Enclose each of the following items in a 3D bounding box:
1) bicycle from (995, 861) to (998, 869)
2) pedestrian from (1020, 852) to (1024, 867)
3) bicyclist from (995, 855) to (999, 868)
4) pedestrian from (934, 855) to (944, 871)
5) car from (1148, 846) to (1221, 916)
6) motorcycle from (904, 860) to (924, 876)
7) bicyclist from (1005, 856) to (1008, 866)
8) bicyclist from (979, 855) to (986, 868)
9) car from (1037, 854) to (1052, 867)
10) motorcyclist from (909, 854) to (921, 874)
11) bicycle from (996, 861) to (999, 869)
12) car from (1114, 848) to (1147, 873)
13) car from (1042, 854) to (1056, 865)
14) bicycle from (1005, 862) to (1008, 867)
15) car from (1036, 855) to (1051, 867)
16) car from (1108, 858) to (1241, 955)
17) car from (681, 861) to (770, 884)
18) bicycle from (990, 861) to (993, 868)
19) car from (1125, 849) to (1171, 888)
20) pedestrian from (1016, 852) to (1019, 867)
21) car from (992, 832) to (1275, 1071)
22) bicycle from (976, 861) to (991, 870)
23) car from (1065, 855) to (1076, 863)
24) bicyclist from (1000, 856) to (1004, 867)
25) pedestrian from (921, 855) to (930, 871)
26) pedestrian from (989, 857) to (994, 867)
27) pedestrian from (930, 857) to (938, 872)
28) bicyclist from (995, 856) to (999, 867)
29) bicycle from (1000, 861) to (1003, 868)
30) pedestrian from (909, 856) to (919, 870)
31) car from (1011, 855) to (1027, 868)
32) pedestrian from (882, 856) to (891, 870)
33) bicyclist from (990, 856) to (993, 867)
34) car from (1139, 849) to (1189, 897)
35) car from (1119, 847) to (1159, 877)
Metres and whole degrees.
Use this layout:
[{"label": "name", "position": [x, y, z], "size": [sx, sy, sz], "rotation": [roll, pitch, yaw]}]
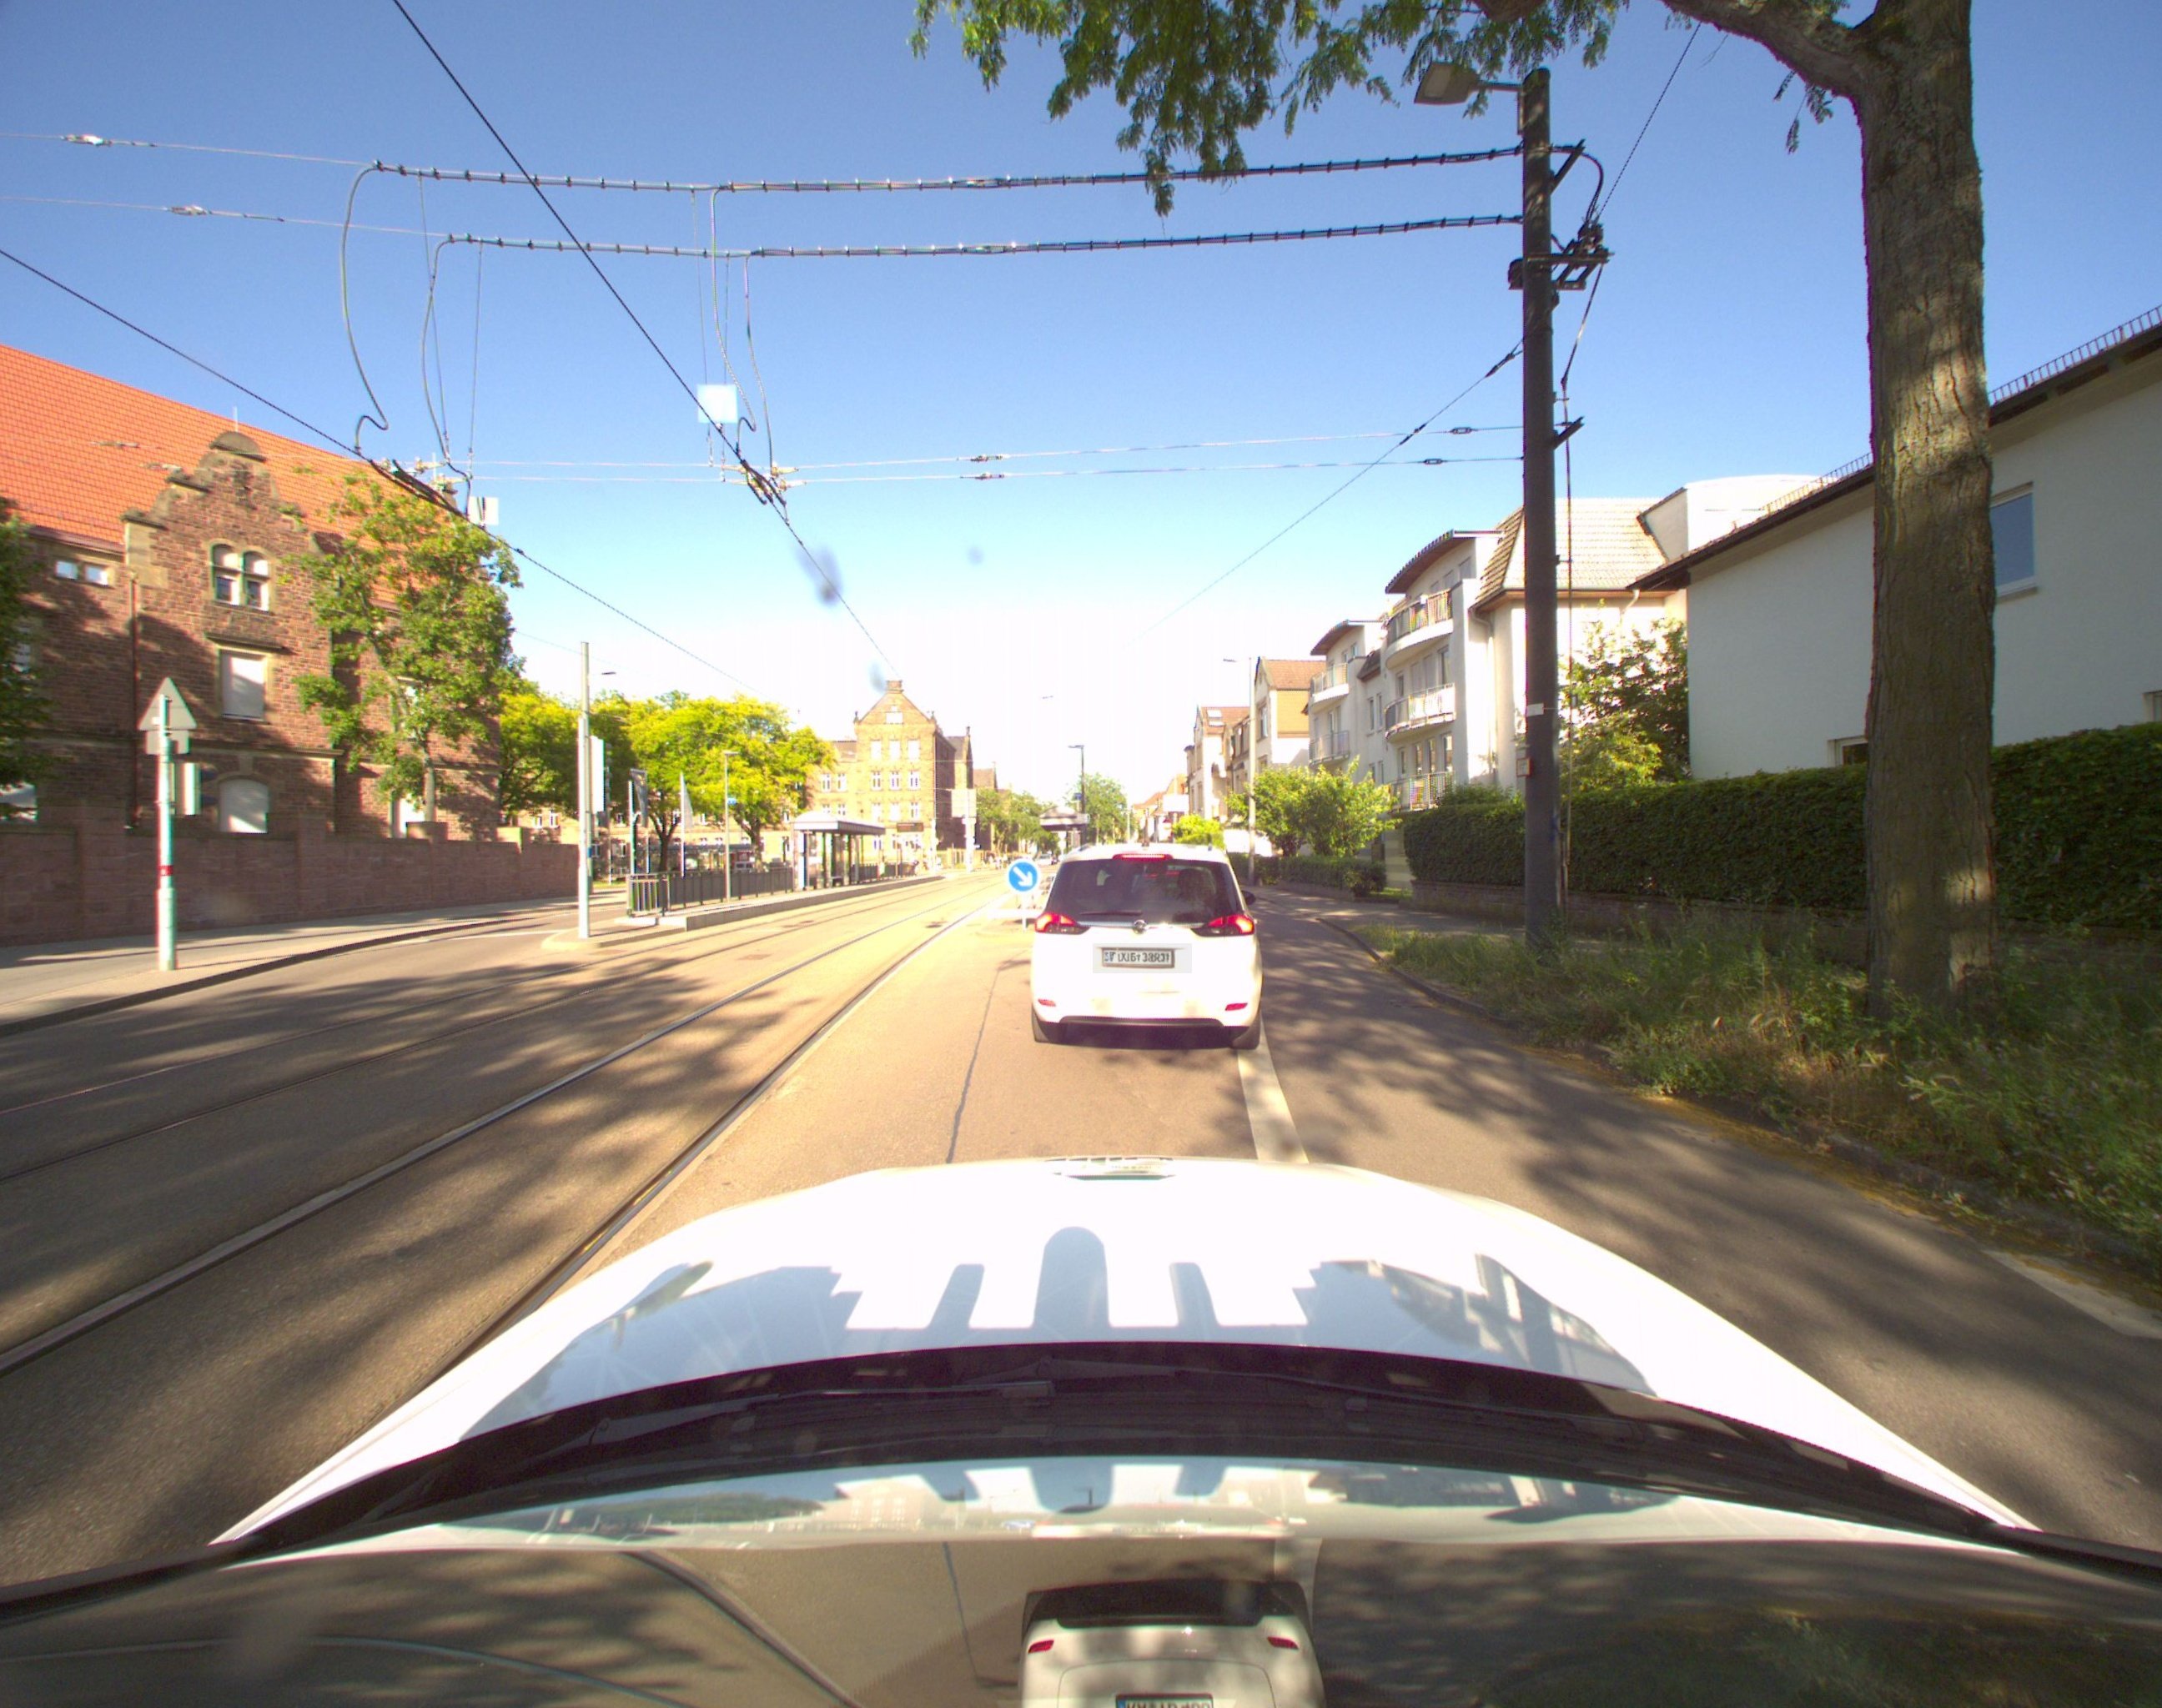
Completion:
[{"label": "bicycle", "position": [-10.718, 1.415, 103.528], "size": [0.343, 0.950, 1.160], "rotation": [0, -1, -1]}, {"label": "pedestrian", "position": [-8.146, 0.773, 112.657], "size": [0.443, 2.013, 0.495], "rotation": [-1, 0, -2]}, {"label": "bicyclist", "position": [-10.710, 0.948, 103.738], "size": [0.443, 1.553, 0.742], "rotation": [-1, 0, -2]}, {"label": "pedestrian", "position": [-15.614, 0.976, 89.524], "size": [0.892, 1.684, 1.029], "rotation": [0, -1, 1]}, {"label": "car", "position": [2.570, 0.638, 20.898], "size": [1.630, 1.601, 3.859], "rotation": [-1, 0, 4]}, {"label": "motorcycle", "position": [-13.615, 1.148, 66.624], "size": [0.606, 1.198, 2.085], "rotation": [-1, 0, 19]}, {"label": "bicyclist", "position": [-10.217, 0.999, 112.106], "size": [0.358, 1.303, 0.397], "rotation": [-1, 0, -2]}, {"label": "bicyclist", "position": [-11.382, 0.875, 94.416], "size": [0.756, 1.430, 0.516], "rotation": [0, -1, 0]}, {"label": "car", "position": [-4.819, 0.893, 107.626], "size": [1.989, 1.629, 3.996], "rotation": [-1, 0, -3]}, {"label": "motorcyclist", "position": [-13.614, 0.815, 66.647], "size": [0.608, 1.621, 0.848], "rotation": [-1, 0, 18]}, {"label": "bicycle", "position": [-11.007, 1.445, 107.070], "size": [0.343, 0.950, 0.996], "rotation": [0, -1, -1]}, {"label": "car", "position": [3.099, 0.385, 51.847], "size": [1.986, 1.503, 4.002], "rotation": [-1, 0, 2]}, {"label": "car", "position": [-5.134, 0.909, 130.995], "size": [1.987, 1.629, 4.000], "rotation": [-1, 0, 0]}, {"label": "bicycle", "position": [-10.209, 1.464, 112.106], "size": [0.343, 0.725, 0.996], "rotation": [0, -1, -1]}, {"label": "car", "position": [-5.300, 0.954, 114.748], "size": [1.989, 1.629, 3.996], "rotation": [-1, 0, -3]}, {"label": "car", "position": [1.529, 0.791, 14.070], "size": [1.944, 1.397, 4.005], "rotation": [-1, 0, 4]}, {"label": "car", "position": [-32.963, 1.696, 75.704], "size": [6.926, 1.921, 2.992], "rotation": [-1, 0, 0]}, {"label": "bicycle", "position": [-12.681, 1.527, 115.640], "size": [0.343, 0.950, 0.996], "rotation": [0, -1, -1]}, {"label": "car", "position": [2.927, 0.611, 36.254], "size": [1.824, 1.579, 4.012], "rotation": [-1, 0, 2]}, {"label": "pedestrian", "position": [-8.773, 0.775, 112.350], "size": [0.443, 2.013, 0.495], "rotation": [-1, 0, -2]}, {"label": "car", "position": [0.641, 0.684, 7.708], "size": [1.982, 1.644, 4.003], "rotation": [0, 0, 8]}, {"label": "bicycle", "position": [-11.319, 1.347, 94.411], "size": [1.665, 0.953, 0.529], "rotation": [-1, 0, 0]}, {"label": "car", "position": [-2.082, 0.956, 157.824], "size": [1.988, 1.629, 3.998], "rotation": [-1, 0, -1]}, {"label": "bicyclist", "position": [-10.665, 0.997, 109.607], "size": [0.443, 1.553, 0.495], "rotation": [-1, 0, -2]}, {"label": "pedestrian", "position": [-17.021, 0.990, 89.144], "size": [0.839, 1.691, 1.029], "rotation": [0, -1, 1]}, {"label": "pedestrian", "position": [-15.243, 1.403, 139.130], "size": [0.733, 1.714, 0.753], "rotation": [0, -1, -4]}, {"label": "pedestrian", "position": [-17.360, 1.211, 96.271], "size": [0.728, 1.714, 0.710], "rotation": [-1, -1, 24]}, {"label": "bicyclist", "position": [-10.982, 0.978, 107.029], "size": [0.443, 1.553, 0.495], "rotation": [-1, 0, -2]}, {"label": "bicycle", "position": [-10.665, 1.463, 109.612], "size": [0.343, 0.950, 0.996], "rotation": [0, -1, -1]}, {"label": "pedestrian", "position": [-18.370, 0.974, 89.574], "size": [0.799, 1.588, 0.934], "rotation": [0, -1, -1]}, {"label": "car", "position": [-8.195, 0.924, 107.484], "size": [1.989, 1.629, 3.996], "rotation": [-1, 0, -3]}, {"label": "pedestrian", "position": [-21.237, 0.991, 89.051], "size": [0.932, 1.588, 0.801], "rotation": [0, -1, -11]}, {"label": "bicyclist", "position": [-12.688, 1.059, 115.606], "size": [0.443, 1.553, 0.495], "rotation": [-1, 0, -2]}, {"label": "car", "position": [2.941, 0.635, 29.324], "size": [1.630, 1.601, 3.859], "rotation": [-1, 0, 4]}, {"label": "car", "position": [3.124, 0.415, 44.380], "size": [1.986, 1.503, 4.002], "rotation": [-1, 0, 2]}]
